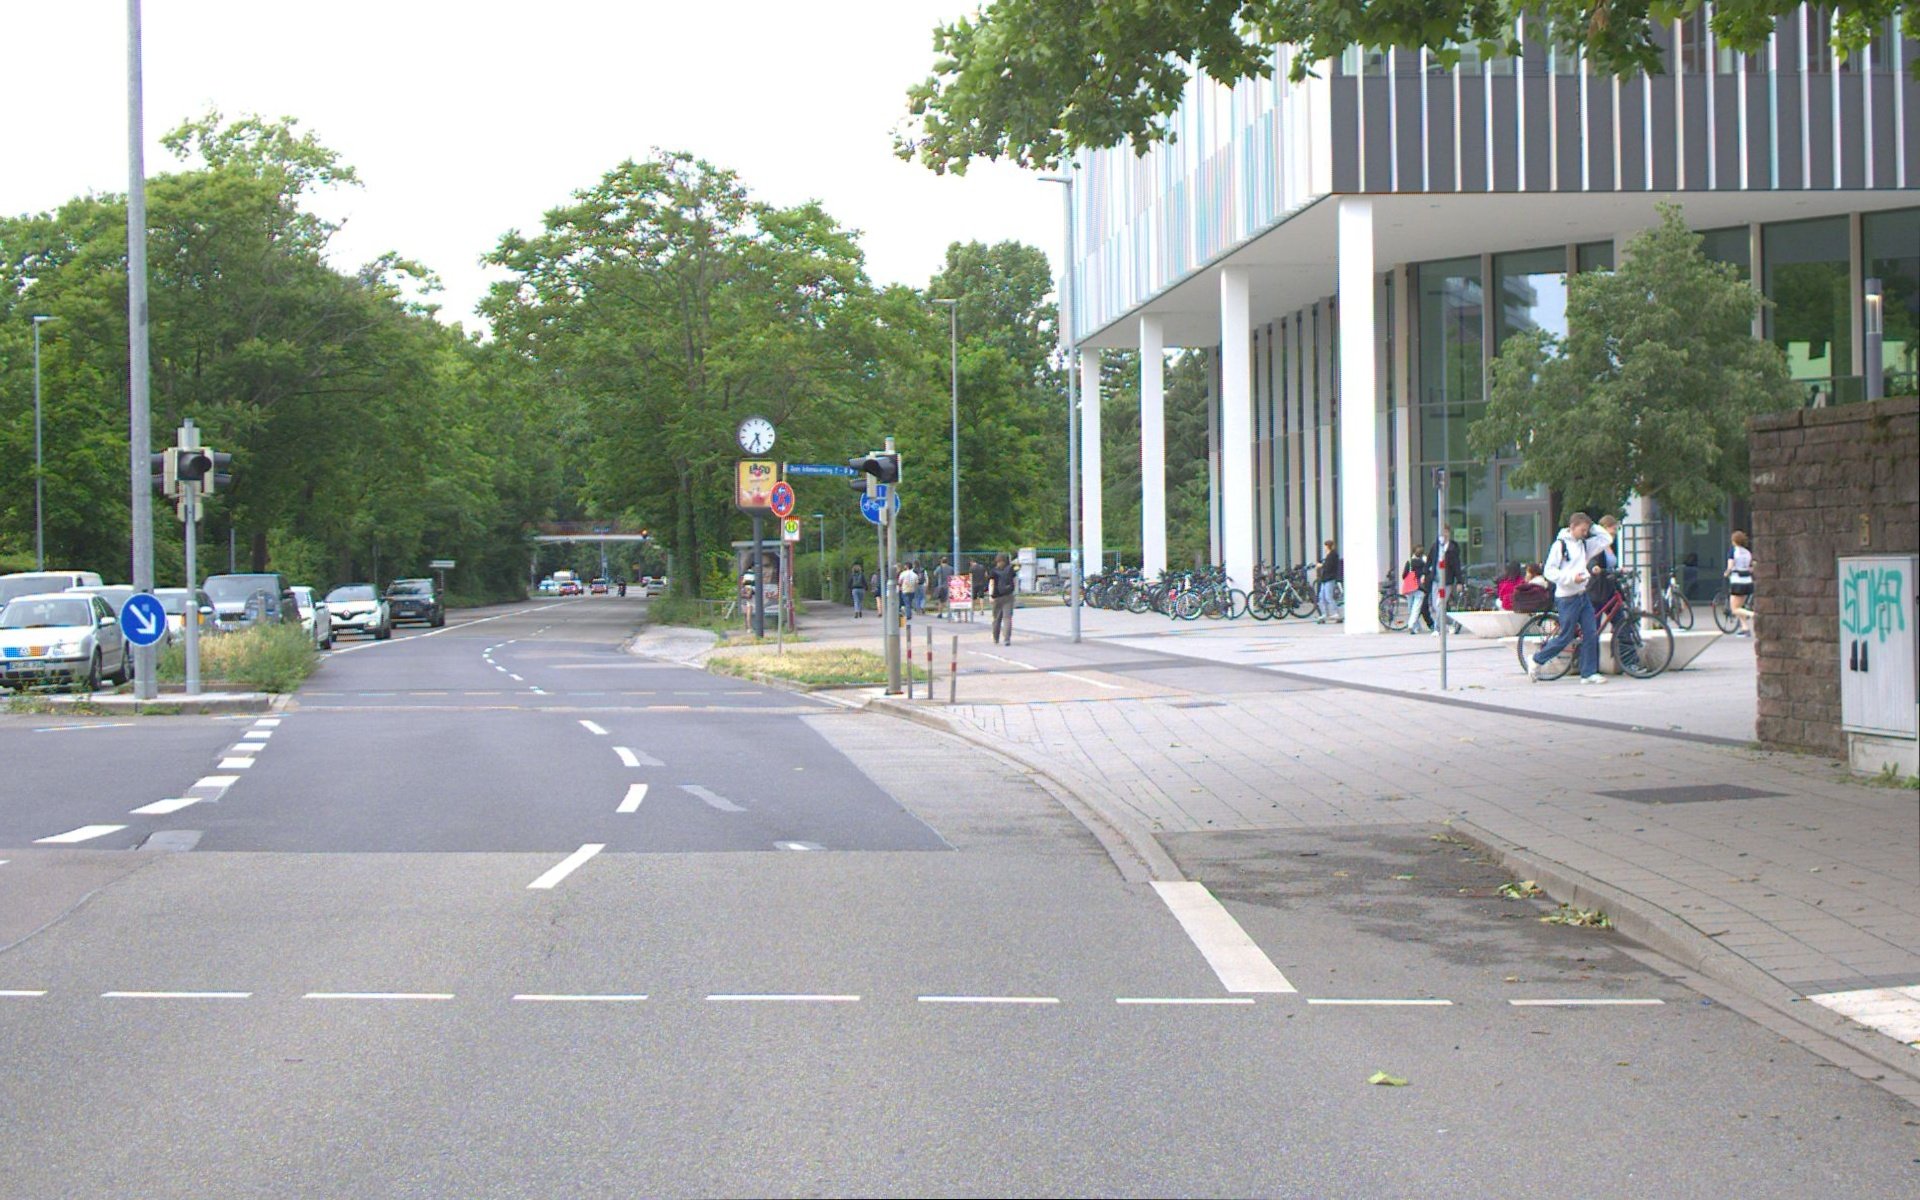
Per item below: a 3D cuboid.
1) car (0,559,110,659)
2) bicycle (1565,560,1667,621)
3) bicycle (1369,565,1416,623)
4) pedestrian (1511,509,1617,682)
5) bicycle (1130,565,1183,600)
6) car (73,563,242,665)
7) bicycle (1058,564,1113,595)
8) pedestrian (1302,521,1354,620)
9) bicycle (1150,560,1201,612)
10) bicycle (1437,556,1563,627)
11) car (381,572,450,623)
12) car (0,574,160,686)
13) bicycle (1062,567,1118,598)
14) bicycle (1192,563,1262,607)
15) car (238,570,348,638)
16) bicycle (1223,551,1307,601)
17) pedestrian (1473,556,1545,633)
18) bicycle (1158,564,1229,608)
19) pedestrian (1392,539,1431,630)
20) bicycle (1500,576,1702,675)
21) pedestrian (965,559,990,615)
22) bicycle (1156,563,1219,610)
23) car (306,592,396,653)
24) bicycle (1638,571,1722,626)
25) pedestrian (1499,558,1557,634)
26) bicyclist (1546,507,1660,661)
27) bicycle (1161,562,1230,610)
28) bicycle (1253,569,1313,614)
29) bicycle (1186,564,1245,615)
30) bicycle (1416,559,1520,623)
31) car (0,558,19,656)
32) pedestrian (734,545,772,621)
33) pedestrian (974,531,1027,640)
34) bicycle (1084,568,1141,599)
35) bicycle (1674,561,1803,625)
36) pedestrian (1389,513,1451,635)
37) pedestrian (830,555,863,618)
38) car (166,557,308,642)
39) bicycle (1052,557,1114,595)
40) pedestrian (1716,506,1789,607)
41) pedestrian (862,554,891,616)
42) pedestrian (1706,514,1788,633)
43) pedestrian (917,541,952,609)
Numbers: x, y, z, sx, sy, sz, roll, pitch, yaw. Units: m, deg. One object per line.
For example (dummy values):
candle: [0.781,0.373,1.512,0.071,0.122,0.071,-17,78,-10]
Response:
car: [-17.710,0.147,66.131,1.771,1.841,4.489,1,1,-3]
bicycle: [11.326,-0.170,59.317,0.774,0.998,1.955,-1,1,44]
bicycle: [8.124,-0.122,64.598,0.638,1.058,1.840,1,1,0]
pedestrian: [6.344,-0.054,36.118,0.782,1.789,0.788,-1,1,39]
bicycle: [5.141,-0.469,90.058,1.283,0.872,0.556,-2,1,-4]
car: [-13.561,0.209,58.344,1.957,1.578,4.256,-1,1,-2]
bicycle: [3.827,-0.623,104.623,1.606,0.872,0.556,-2,1,-4]
pedestrian: [7.559,-0.602,70.612,0.891,2.007,0.845,-1,0,-3]
bicycle: [4.976,-0.319,79.479,0.635,1.136,2.201,-4,1,-9]
bicycle: [9.624,-0.154,61.144,0.774,1.184,2.713,-1,1,44]
car: [-18.101,-0.101,114.429,1.902,1.588,4.517,-1,1,-4]
car: [-13.256,0.409,50.190,1.993,1.524,4.274,-1,1,2]
bicycle: [3.917,-0.535,103.669,1.606,0.872,0.556,-2,1,-4]
bicycle: [6.396,-0.361,82.295,1.606,0.932,0.568,-3,1,6]
car: [-15.271,0.068,78.909,1.903,1.460,4.912,1,1,-5]
bicycle: [7.574,-0.585,85.498,1.985,1.140,0.647,-2,1,37]
pedestrian: [8.648,-0.088,54.151,0.844,1.202,0.893,-1,1,30]
bicycle: [5.684,-0.346,83.698,1.606,0.979,0.556,-4,1,-4]
pedestrian: [8.264,-0.285,62.936,0.675,1.635,0.653,-1,0,8]
bicycle: [6.915,0.268,37.112,1.973,1.014,0.794,1,1,34]
pedestrian: [0.523,-0.385,103.238,0.729,1.678,0.747,1,0,-1]
bicycle: [5.500,-0.327,83.114,1.400,1.040,0.559,-3,1,-4]
car: [-16.764,0.603,94.761,1.993,1.541,4.180,-2,1,-4]
bicycle: [12.360,-0.034,58.979,0.671,0.896,1.842,-1,1,37]
pedestrian: [9.050,-0.067,54.778,0.892,1.189,0.845,-1,1,10]
bicyclist: [6.949,-0.175,37.148,0.968,1.640,0.734,1,0,35]
bicycle: [5.846,-0.351,85.296,1.644,1.087,0.572,-4,0,4]
bicycle: [7.054,-0.197,75.045,1.484,0.926,0.440,-3,3,-43]
bicycle: [5.692,-0.237,76.718,0.607,1.076,1.963,-3,1,-16]
bicycle: [9.249,-0.165,62.523,0.736,1.112,2.178,-1,1,43]
car: [-16.793,0.144,55.404,1.993,1.614,4.000,-1,1,2]
pedestrian: [-5.708,-0.476,94.772,0.912,2.006,0.854,-3,3,-5]
pedestrian: [0.768,-0.277,64.970,0.842,2.007,0.894,-3,1,-3]
bicycle: [4.535,-0.497,102.103,1.606,0.872,0.556,-2,1,-4]
bicycle: [12.911,-0.120,57.004,2.185,1.002,0.782,-1,-1,-34]
pedestrian: [7.669,-0.428,57.385,0.842,2.007,0.894,-1,0,-3]
pedestrian: [-3.681,-0.449,111.312,0.925,2.007,1.040,-1,0,-9]
car: [-14.957,-0.047,71.352,1.993,1.681,4.948,0,1,-1]
bicycle: [3.810,-0.736,106.623,1.794,1.078,0.626,-3,1,-6]
pedestrian: [16.453,-0.903,71.372,1.183,2.055,1.133,1,0,29]
pedestrian: [-2.701,-0.486,111.171,0.823,2.007,0.720,-1,0,-9]
pedestrian: [12.373,-0.417,54.044,0.843,1.829,0.894,-2,1,-40]
pedestrian: [-0.759,-0.748,102.671,0.925,2.007,1.040,-1,0,-4]
